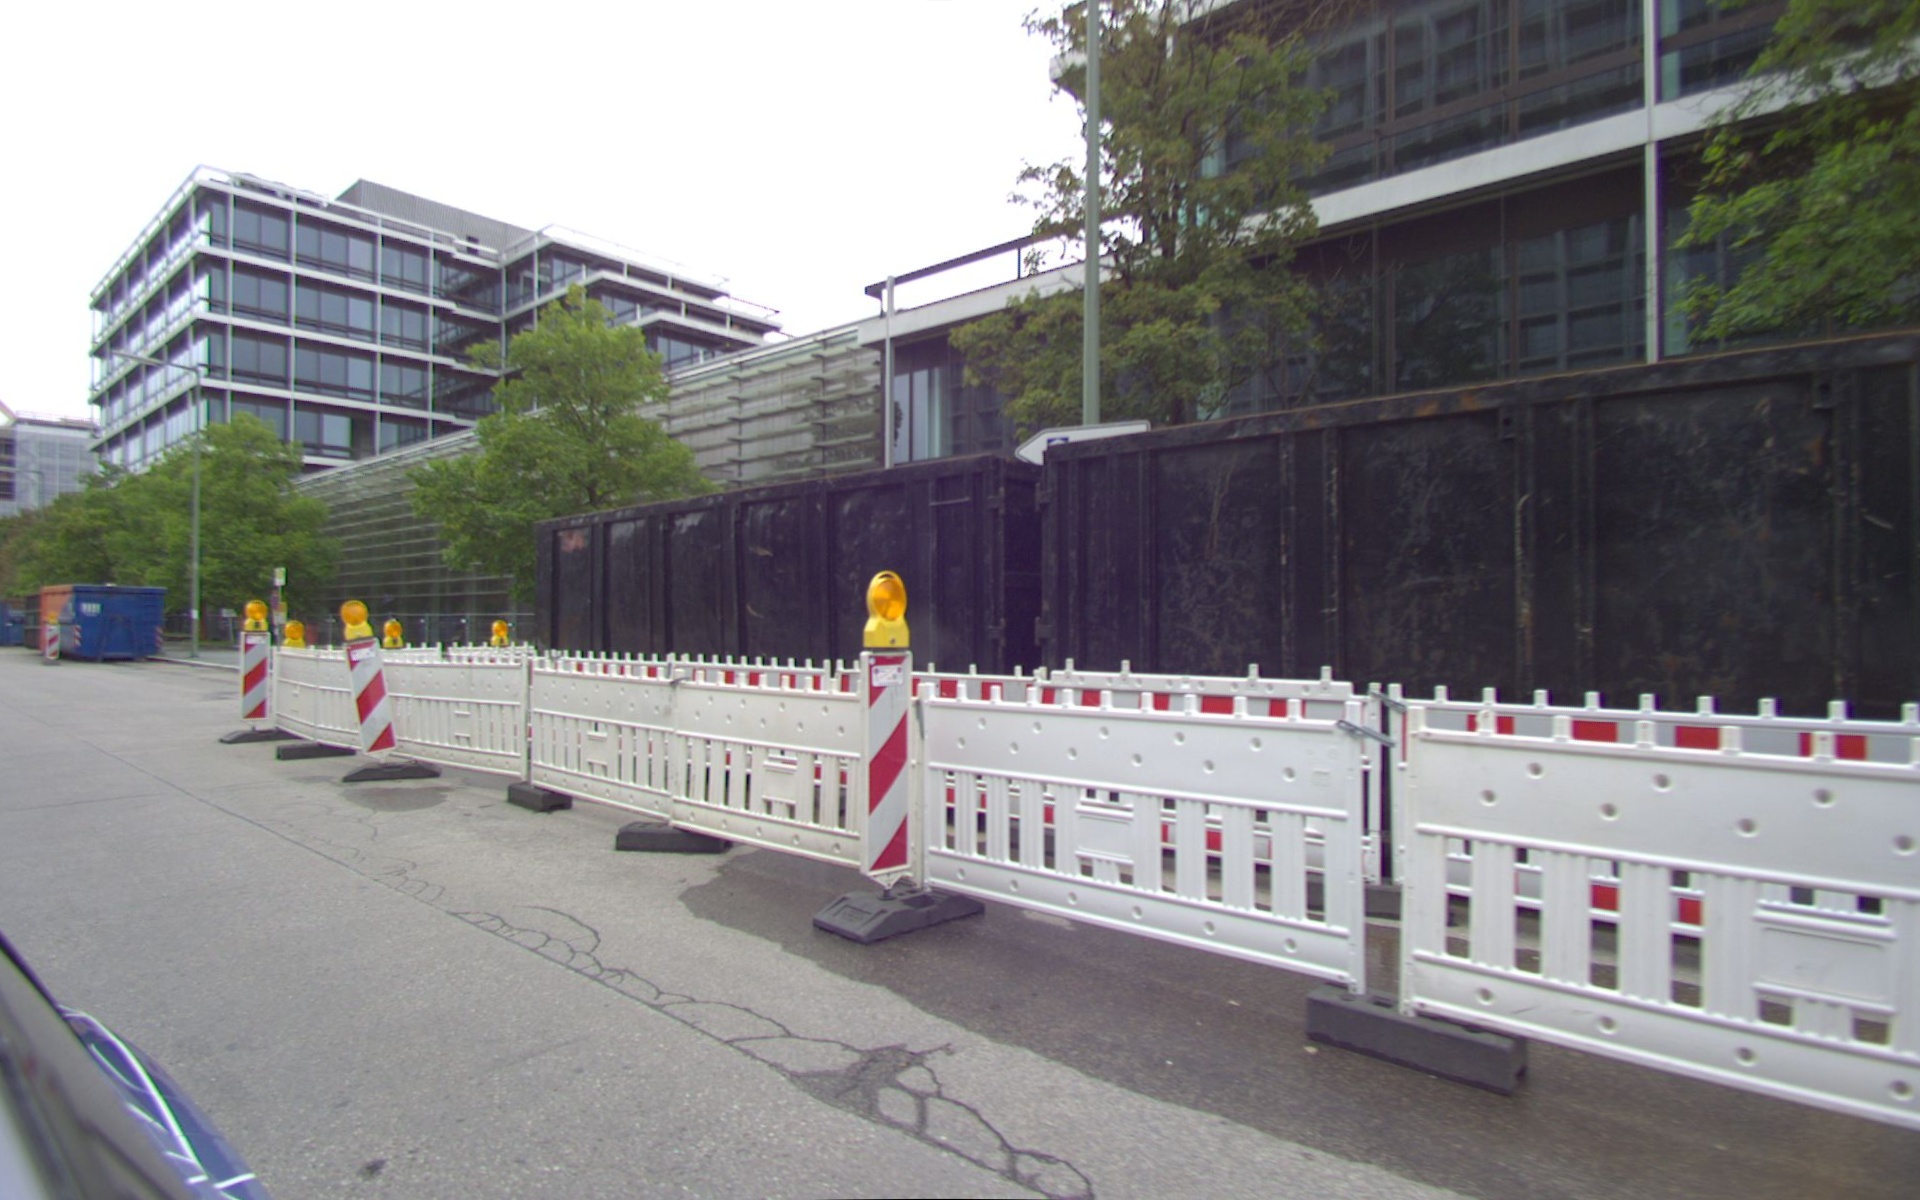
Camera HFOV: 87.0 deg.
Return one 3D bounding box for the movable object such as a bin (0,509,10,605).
[{"bbox_3d":[-71.287,-2.978,72.942,11.778,6.614,2.874,-1,-2,41],"label":"movable object such as a bin"}]
